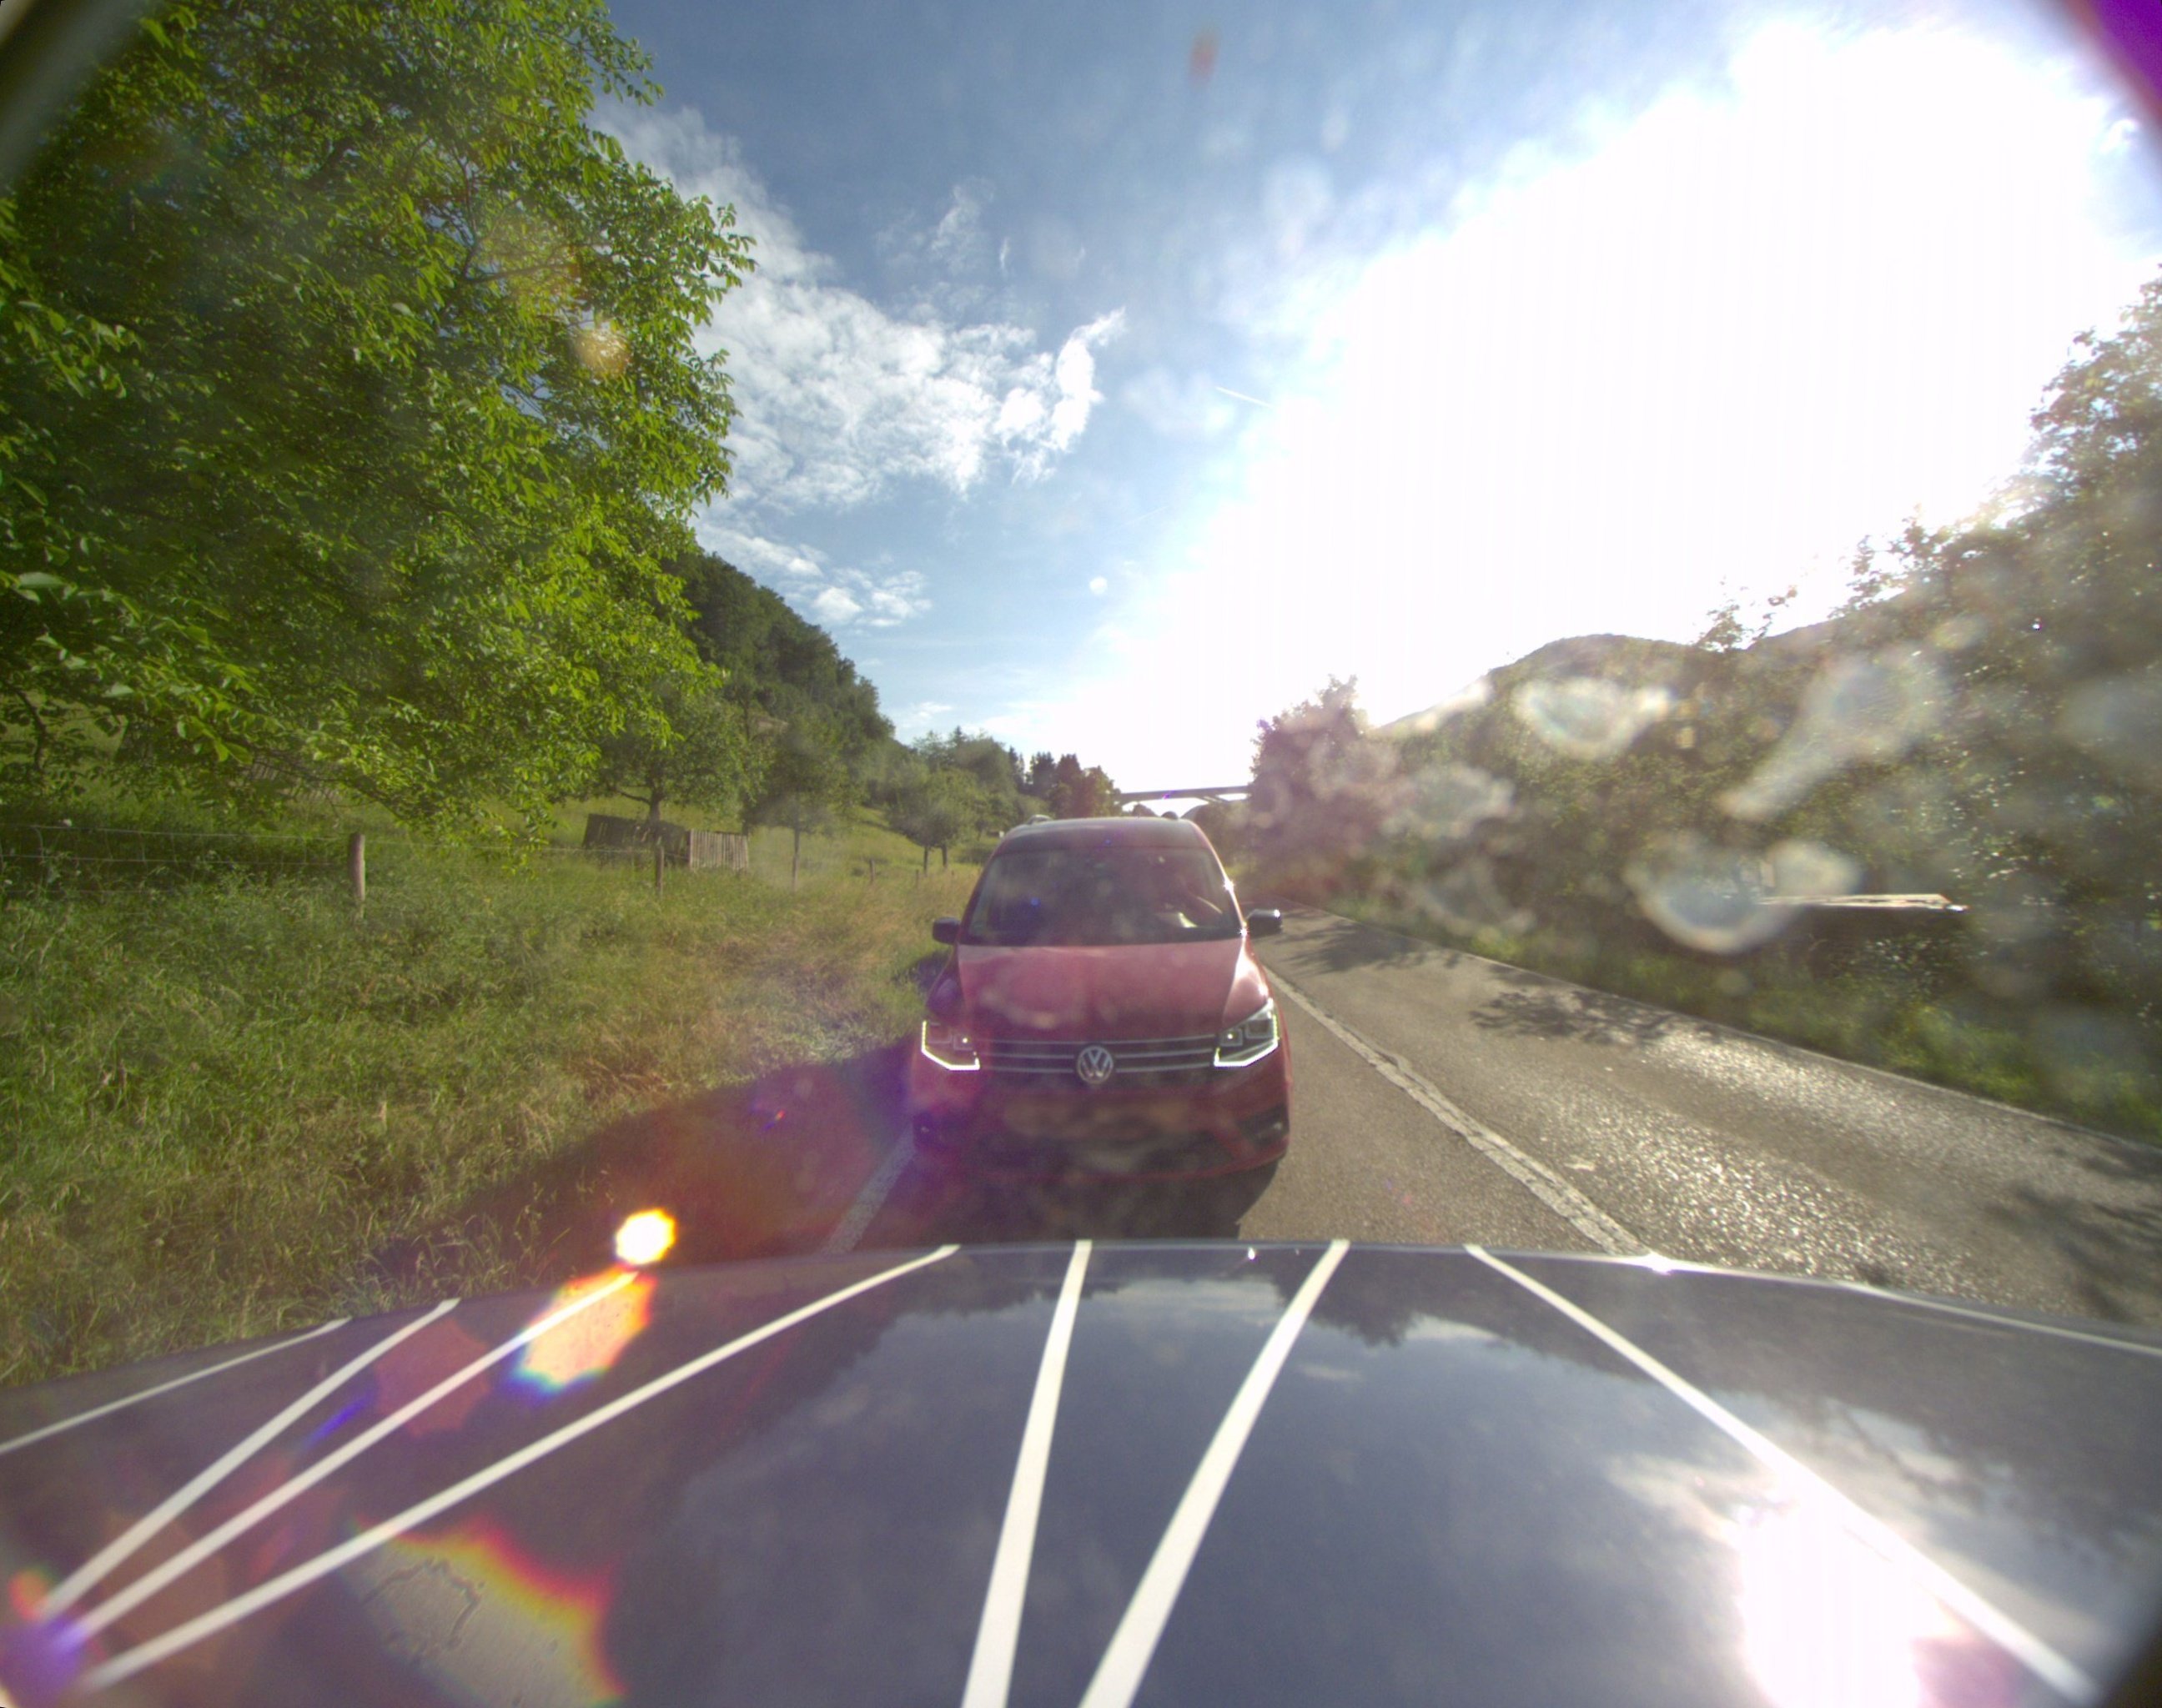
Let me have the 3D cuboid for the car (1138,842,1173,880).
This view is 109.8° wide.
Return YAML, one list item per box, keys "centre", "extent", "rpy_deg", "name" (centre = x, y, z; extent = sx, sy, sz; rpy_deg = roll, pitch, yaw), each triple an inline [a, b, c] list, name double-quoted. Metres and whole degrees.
- centre: [4.130, 0.338, 42.240]
  extent: [1.758, 1.926, 4.001]
  rpy_deg: [-2, 1, 5]
  name: "car"

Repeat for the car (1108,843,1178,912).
- centre: [1.779, 0.587, 21.815]
  extent: [1.758, 1.745, 4.001]
  rpy_deg: [-2, 1, 5]
  name: "car"

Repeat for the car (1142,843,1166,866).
- centre: [6.663, 0.037, 69.421]
  extent: [1.998, 2.002, 4.000]
  rpy_deg: [-2, 1, 4]
  name: "car"

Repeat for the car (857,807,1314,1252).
- centre: [0.155, 0.689, 5.237]
  extent: [1.759, 1.745, 4.430]
  rpy_deg: [-2, 1, 4]
  name: "car"

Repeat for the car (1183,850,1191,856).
- centre: [23.816, -0.251, 170.893]
  extent: [1.597, 1.346, 4.205]
  rpy_deg: [-2, 1, 9]
  name: "car"

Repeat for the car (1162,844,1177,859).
- centre: [13.155, -0.394, 113.194]
  extent: [1.998, 2.002, 4.001]
  rpy_deg: [-2, 1, 6]
  name: "car"
